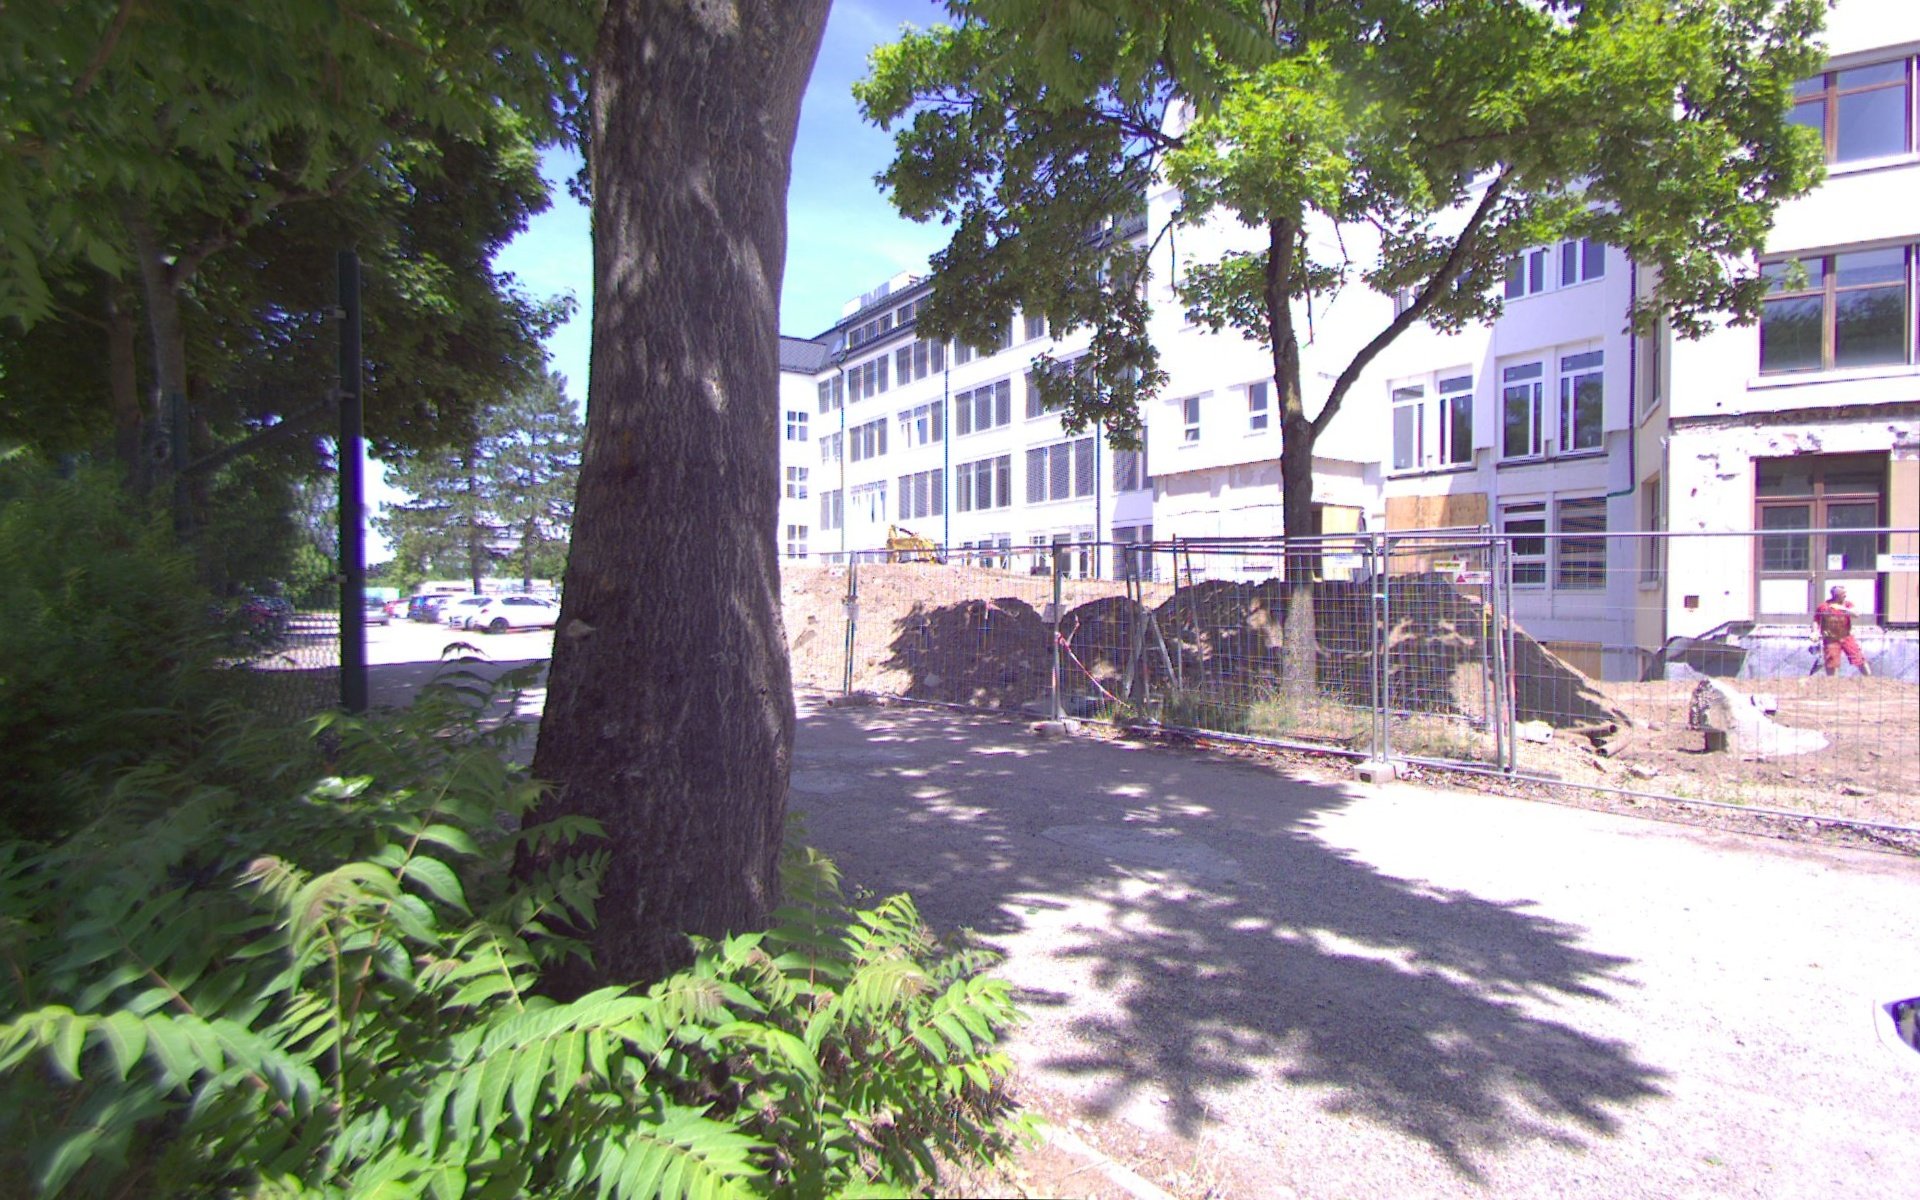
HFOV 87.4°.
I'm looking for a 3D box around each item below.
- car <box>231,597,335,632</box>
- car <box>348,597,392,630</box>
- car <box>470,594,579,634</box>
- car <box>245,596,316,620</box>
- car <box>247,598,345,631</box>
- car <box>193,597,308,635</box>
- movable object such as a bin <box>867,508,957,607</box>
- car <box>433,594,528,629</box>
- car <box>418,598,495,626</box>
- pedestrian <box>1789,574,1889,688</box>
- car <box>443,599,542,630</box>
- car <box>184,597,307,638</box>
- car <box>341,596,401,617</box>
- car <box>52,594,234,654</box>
[{"bbox_3d":[-28.804,0.626,42.804,3.596,1.433,1.373,1,0,-39],"label":"car"},{"bbox_3d":[-31.162,0.688,53.028,1.792,1.677,3.887,1,0,-34],"label":"car"},{"bbox_3d":[-17.142,0.530,39.601,3.695,1.514,1.437,1,0,-41],"label":"car"},{"bbox_3d":[-43.888,0.512,64.944,3.695,1.514,1.437,1,0,-41],"label":"car"},{"bbox_3d":[-29.742,0.631,45.049,3.596,1.433,1.373,1,0,-39],"label":"car"},{"bbox_3d":[-27.549,0.616,39.056,3.596,1.433,1.373,1,0,-39],"label":"car"},{"bbox_3d":[-2.367,-1.893,47.835,1.976,4.430,5.679,0,0,-29],"label":"movable object such as a bin"},{"bbox_3d":[-21.872,0.527,45.908,3.695,1.514,1.437,1,0,-41],"label":"car"},{"bbox_3d":[-28.700,0.678,57.279,3.695,1.514,1.437,1,0,-41],"label":"car"},{"bbox_3d":[14.846,0.511,17.001,0.966,1.871,0.917,0,0,17],"label":"pedestrian"},{"bbox_3d":[-20.346,0.637,43.781,3.695,1.295,1.437,1,0,-41],"label":"car"},{"bbox_3d":[-26.114,0.632,36.754,3.596,1.433,1.438,1,0,-39],"label":"car"},{"bbox_3d":[-44.130,0.512,75.305,3.695,1.514,1.437,1,0,-41],"label":"car"},{"bbox_3d":[-20.847,0.597,25.747,3.525,1.440,1.564,1,0,-40],"label":"car"}]
